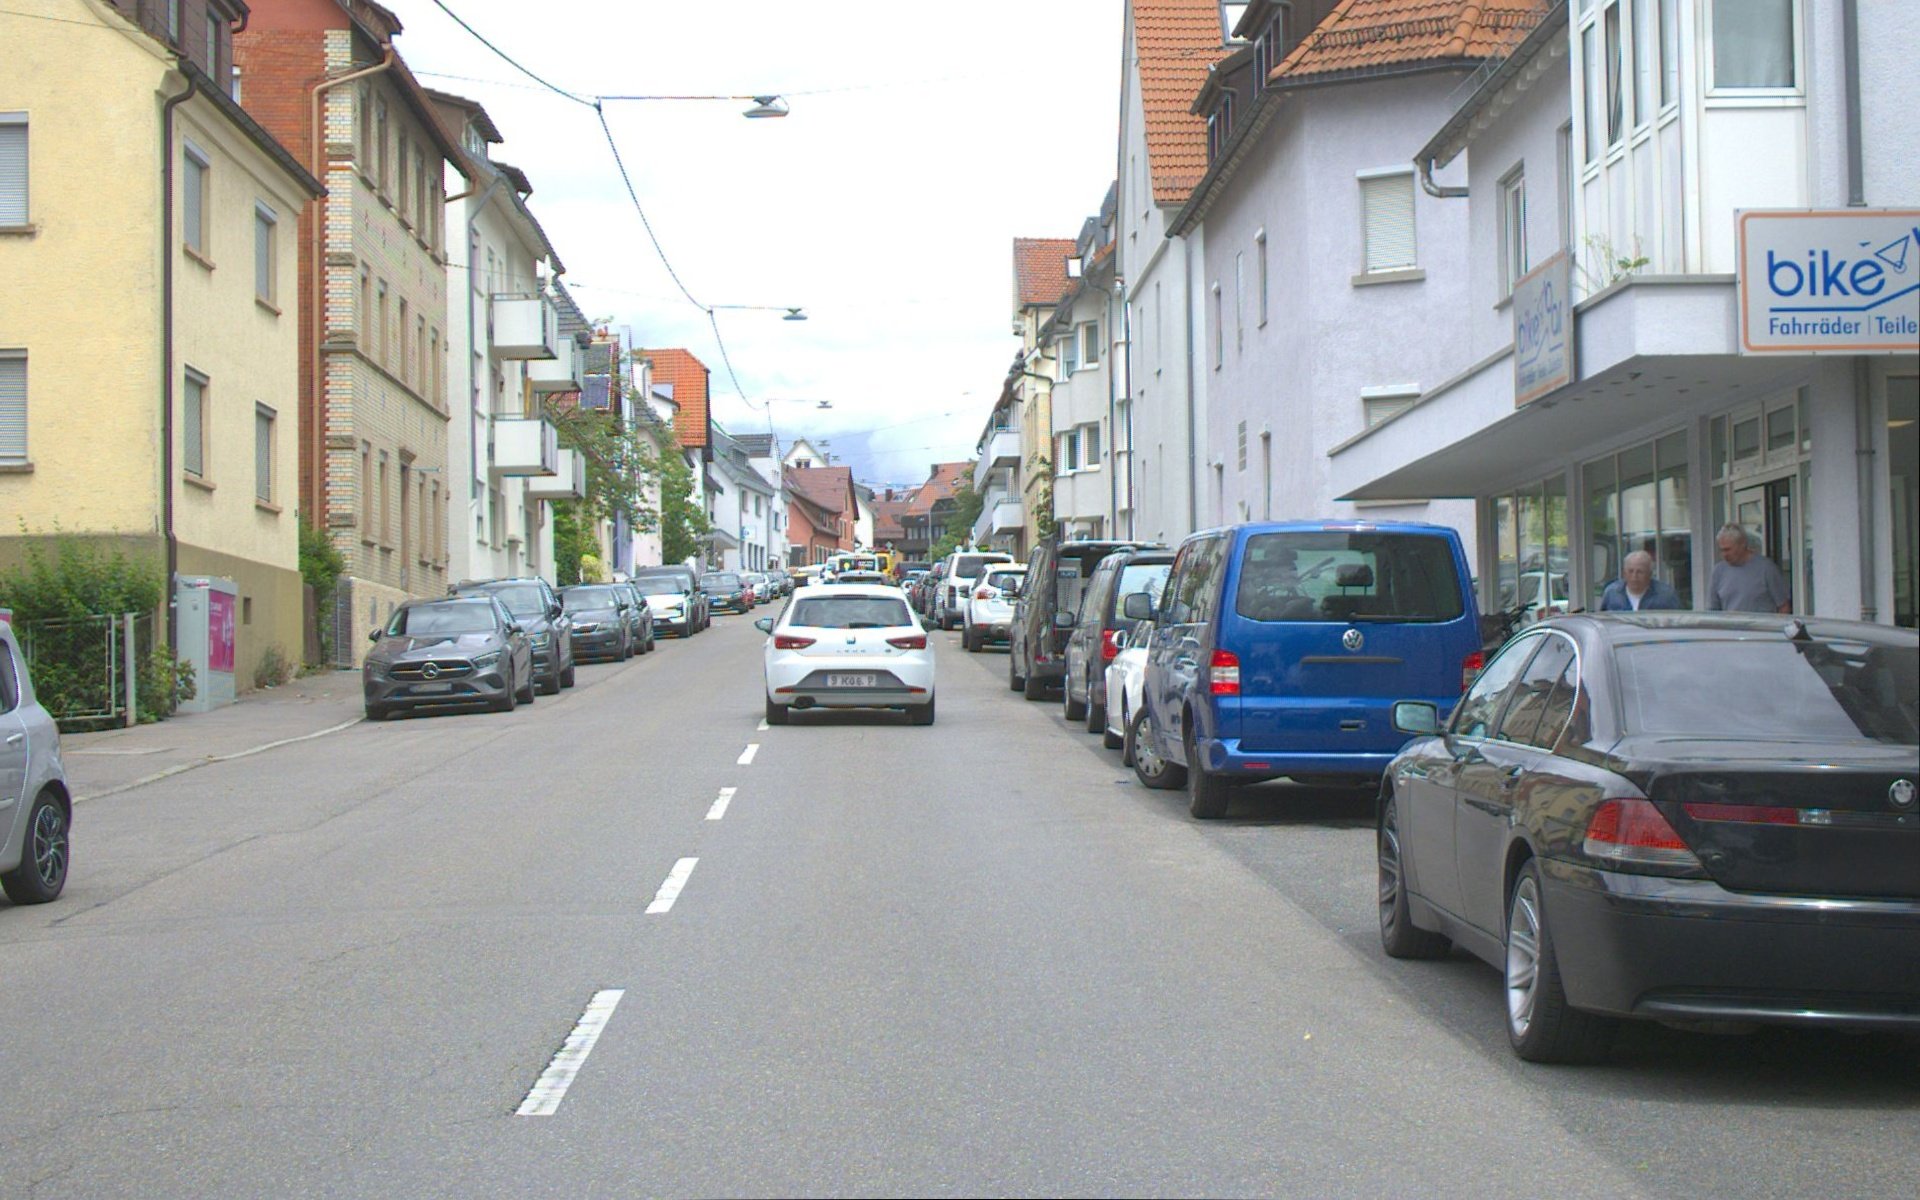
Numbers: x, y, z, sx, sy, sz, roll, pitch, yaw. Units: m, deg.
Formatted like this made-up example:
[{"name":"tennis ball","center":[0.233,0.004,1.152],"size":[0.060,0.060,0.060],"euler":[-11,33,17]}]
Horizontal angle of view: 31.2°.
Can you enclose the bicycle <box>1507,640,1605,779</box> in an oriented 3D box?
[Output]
[{"name":"bicycle","center":[5.044,0.915,29.049],"size":[0.339,1.109,1.465],"euler":[-2,0,28]}]

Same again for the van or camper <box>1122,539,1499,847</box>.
[{"name":"van or camper","center":[2.307,0.581,23.886],"size":[1.926,1.919,4.831],"euler":[0,0,-2]}]

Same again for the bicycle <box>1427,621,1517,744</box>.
[{"name":"bicycle","center":[4.895,0.773,32.801],"size":[0.297,1.109,1.573],"euler":[-2,0,28]}]

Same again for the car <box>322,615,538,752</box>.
[{"name":"car","center":[-6.545,1.002,42.878],"size":[1.993,1.467,4.243],"euler":[-4,0,-1]}]

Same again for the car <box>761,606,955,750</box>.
[{"name":"car","center":[-1.097,0.782,36.343],"size":[1.940,1.434,4.000],"euler":[0,0,-2]}]

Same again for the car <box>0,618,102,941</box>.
[{"name":"car","center":[-5.696,0.945,16.313],"size":[1.834,1.572,4.030],"euler":[-4,0,5]}]

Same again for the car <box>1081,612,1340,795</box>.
[{"name":"car","center":[2.087,0.838,29.795],"size":[1.714,1.431,4.639],"euler":[1,0,-2]}]

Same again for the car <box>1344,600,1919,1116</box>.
[{"name":"car","center":[2.765,0.786,12.616],"size":[1.993,1.512,4.892],"euler":[1,0,-2]}]

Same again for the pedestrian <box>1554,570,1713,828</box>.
[{"name":"pedestrian","center":[4.580,0.663,23.375],"size":[0.872,1.719,0.618],"euler":[-1,-1,33]}]

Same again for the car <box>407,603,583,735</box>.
[{"name":"car","center":[-6.571,0.940,49.030],"size":[1.993,1.645,4.554],"euler":[-4,0,-3]}]

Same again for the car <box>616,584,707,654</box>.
[{"name":"car","center":[-7.343,0.461,84.943],"size":[1.993,1.645,4.000],"euler":[-1,0,-2]}]

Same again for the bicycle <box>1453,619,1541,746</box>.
[{"name":"bicycle","center":[5.059,0.767,32.339],"size":[0.250,1.156,1.464],"euler":[-2,-1,31]}]

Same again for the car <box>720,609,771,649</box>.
[{"name":"car","center":[-9.100,1.231,145.925],"size":[1.993,1.645,4.179],"euler":[-1,0,-2]}]

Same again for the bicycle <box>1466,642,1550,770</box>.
[{"name":"bicycle","center":[5.030,0.960,31.518],"size":[0.250,1.109,1.465],"euler":[-2,0,28]}]

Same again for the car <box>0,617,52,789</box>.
[{"name":"car","center":[-10.363,0.991,30.211],"size":[4.229,1.467,2.000],"euler":[-2,-3,-1]}]

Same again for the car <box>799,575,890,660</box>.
[{"name":"car","center":[-2.824,0.421,83.278],"size":[2.152,2.007,4.000],"euler":[0,0,-3]}]

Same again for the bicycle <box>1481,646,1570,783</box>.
[{"name":"bicycle","center":[4.869,0.972,29.555],"size":[0.250,1.109,1.465],"euler":[-2,0,28]}]

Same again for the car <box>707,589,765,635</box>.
[{"name":"car","center":[-8.351,0.442,128.433],"size":[1.993,1.645,4.179],"euler":[-1,0,-2]}]

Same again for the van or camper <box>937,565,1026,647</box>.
[{"name":"van or camper","center":[0.527,0.145,87.805],"size":[1.940,2.048,4.563],"euler":[0,0,-4]}]

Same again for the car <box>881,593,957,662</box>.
[{"name":"car","center":[-1.268,0.829,104.465],"size":[1.993,2.007,4.000],"euler":[-1,0,-4]}]

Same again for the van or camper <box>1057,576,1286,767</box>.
[{"name":"van or camper","center":[2.127,0.699,35.801],"size":[1.871,1.822,4.680],"euler":[1,0,-2]}]

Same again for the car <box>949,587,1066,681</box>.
[{"name":"car","center":[0.867,0.626,65.648],"size":[1.940,1.687,4.000],"euler":[2,0,-3]}]

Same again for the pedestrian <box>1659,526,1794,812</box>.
[{"name":"pedestrian","center":[5.490,0.487,24.623],"size":[0.761,2.007,0.618],"euler":[-1,-1,33]}]

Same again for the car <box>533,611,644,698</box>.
[{"name":"car","center":[-6.924,0.990,64.412],"size":[1.642,1.468,4.179],"euler":[-4,0,-2]}]

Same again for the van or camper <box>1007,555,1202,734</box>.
[{"name":"van or camper","center":[1.741,0.528,43.484],"size":[1.993,2.059,5.945],"euler":[1,0,-2]}]
